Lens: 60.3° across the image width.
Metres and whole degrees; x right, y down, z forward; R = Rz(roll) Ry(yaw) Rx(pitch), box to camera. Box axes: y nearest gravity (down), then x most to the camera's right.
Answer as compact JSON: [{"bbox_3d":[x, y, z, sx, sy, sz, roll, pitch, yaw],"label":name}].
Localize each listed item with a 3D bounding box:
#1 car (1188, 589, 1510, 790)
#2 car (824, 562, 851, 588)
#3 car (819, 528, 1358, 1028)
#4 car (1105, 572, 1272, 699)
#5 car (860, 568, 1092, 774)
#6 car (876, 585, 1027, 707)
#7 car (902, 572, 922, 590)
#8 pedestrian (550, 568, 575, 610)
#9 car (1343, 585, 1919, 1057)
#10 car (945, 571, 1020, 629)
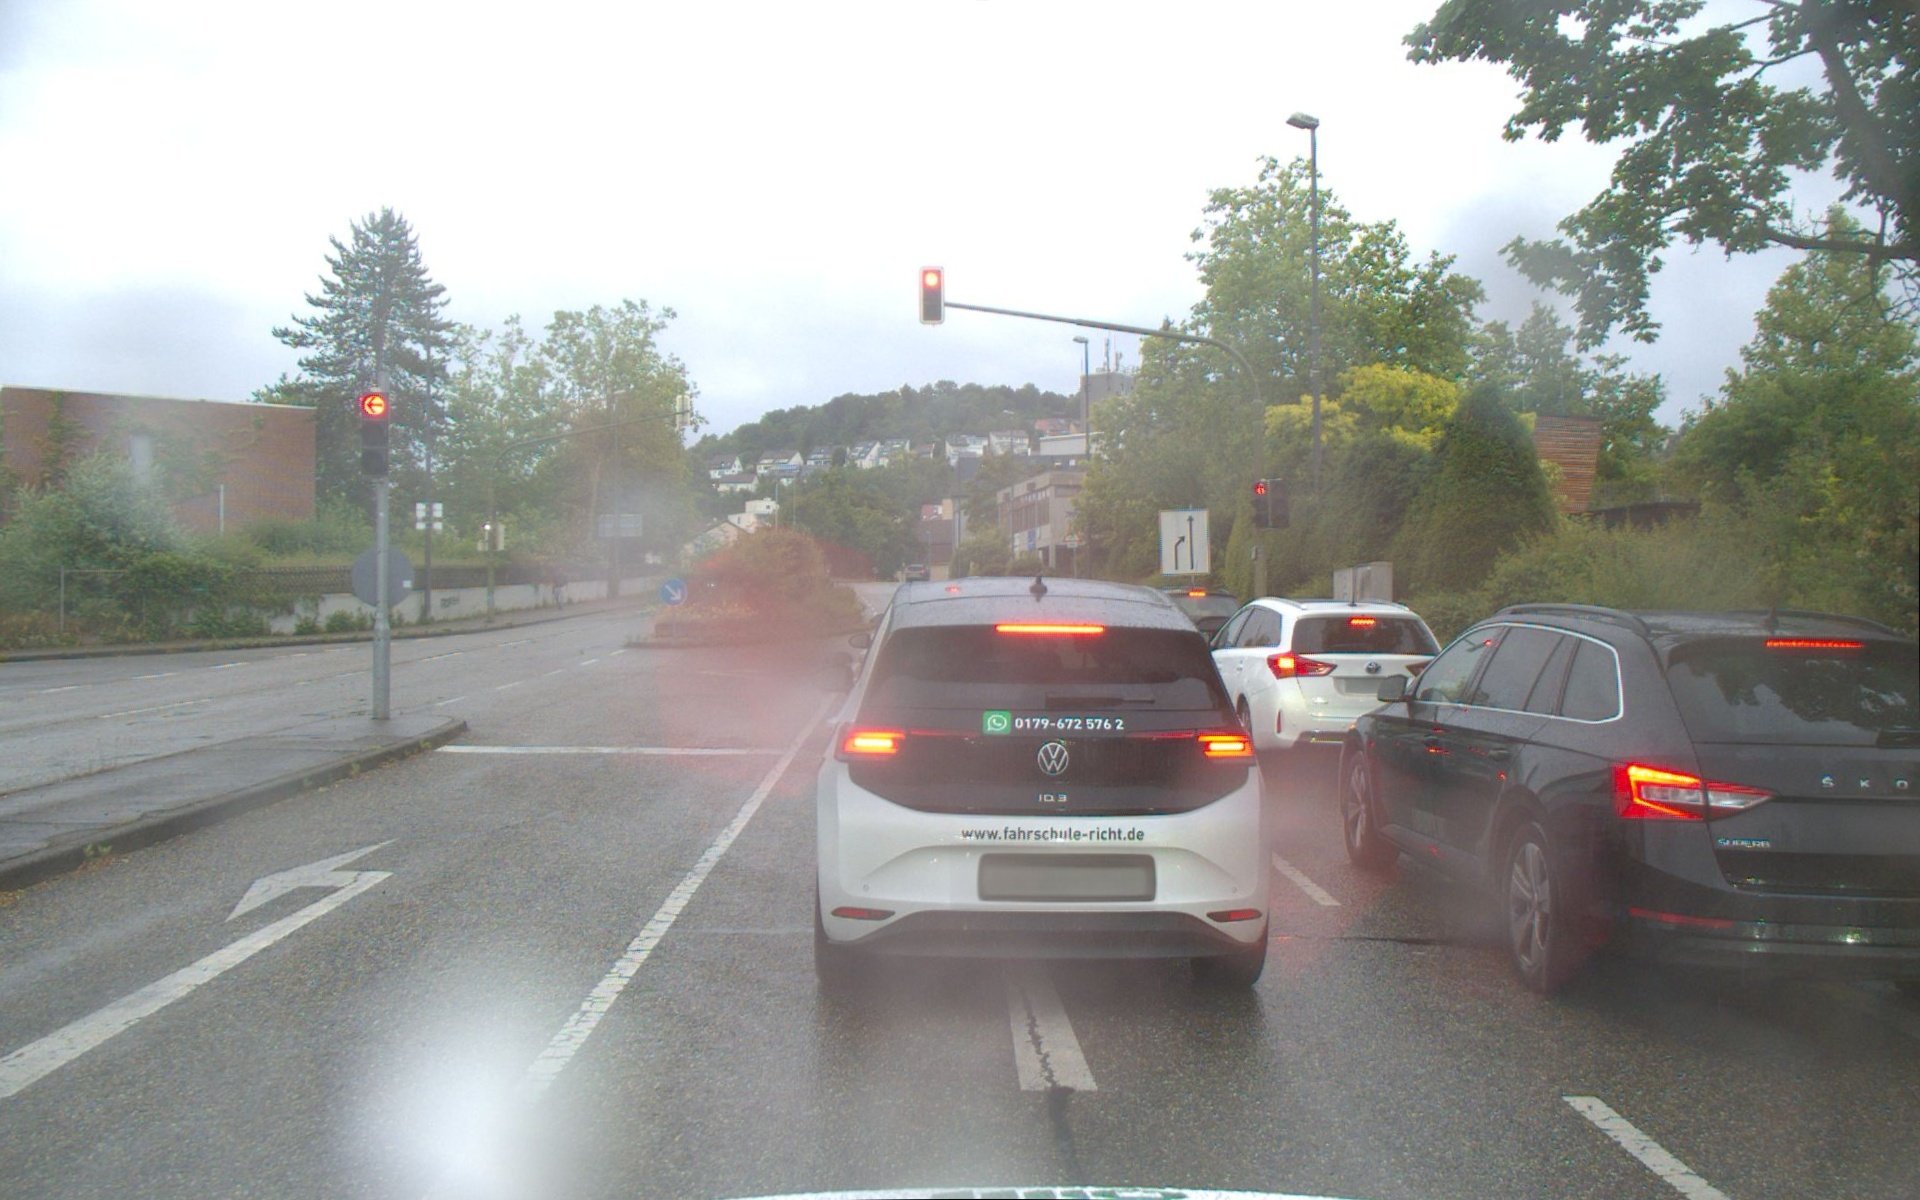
[{"bbox_3d":[3.290,0.681,14.821,1.800,1.492,4.116,1,1,-1],"label":"car"},{"bbox_3d":[-10.380,-2.087,140.278,1.953,2.049,3.999,1,-1,-1],"label":"car"},{"bbox_3d":[0.387,0.585,7.926,1.800,1.657,4.614,1,1,-1],"label":"car"},{"bbox_3d":[3.136,0.466,23.439,1.739,1.609,3.999,1,0,-1],"label":"car"},{"bbox_3d":[0.082,0.542,15.169,1.800,1.582,4.174,1,1,-1],"label":"car"},{"bbox_3d":[-0.146,0.537,21.888,1.800,1.424,3.830,1,1,-1],"label":"car"},{"bbox_3d":[-4.339,-1.712,150.121,1.739,1.609,3.999,-2,0,-1],"label":"car"},{"bbox_3d":[-15.616,-0.435,64.990,0.744,1.595,0.825,-2,0,-2],"label":"pedestrian"},{"bbox_3d":[3.135,0.704,7.496,1.800,1.492,4.350,1,1,1],"label":"car"},{"bbox_3d":[0.562,-0.026,43.836,1.726,1.443,3.747,-1,1,-3],"label":"car"}]
